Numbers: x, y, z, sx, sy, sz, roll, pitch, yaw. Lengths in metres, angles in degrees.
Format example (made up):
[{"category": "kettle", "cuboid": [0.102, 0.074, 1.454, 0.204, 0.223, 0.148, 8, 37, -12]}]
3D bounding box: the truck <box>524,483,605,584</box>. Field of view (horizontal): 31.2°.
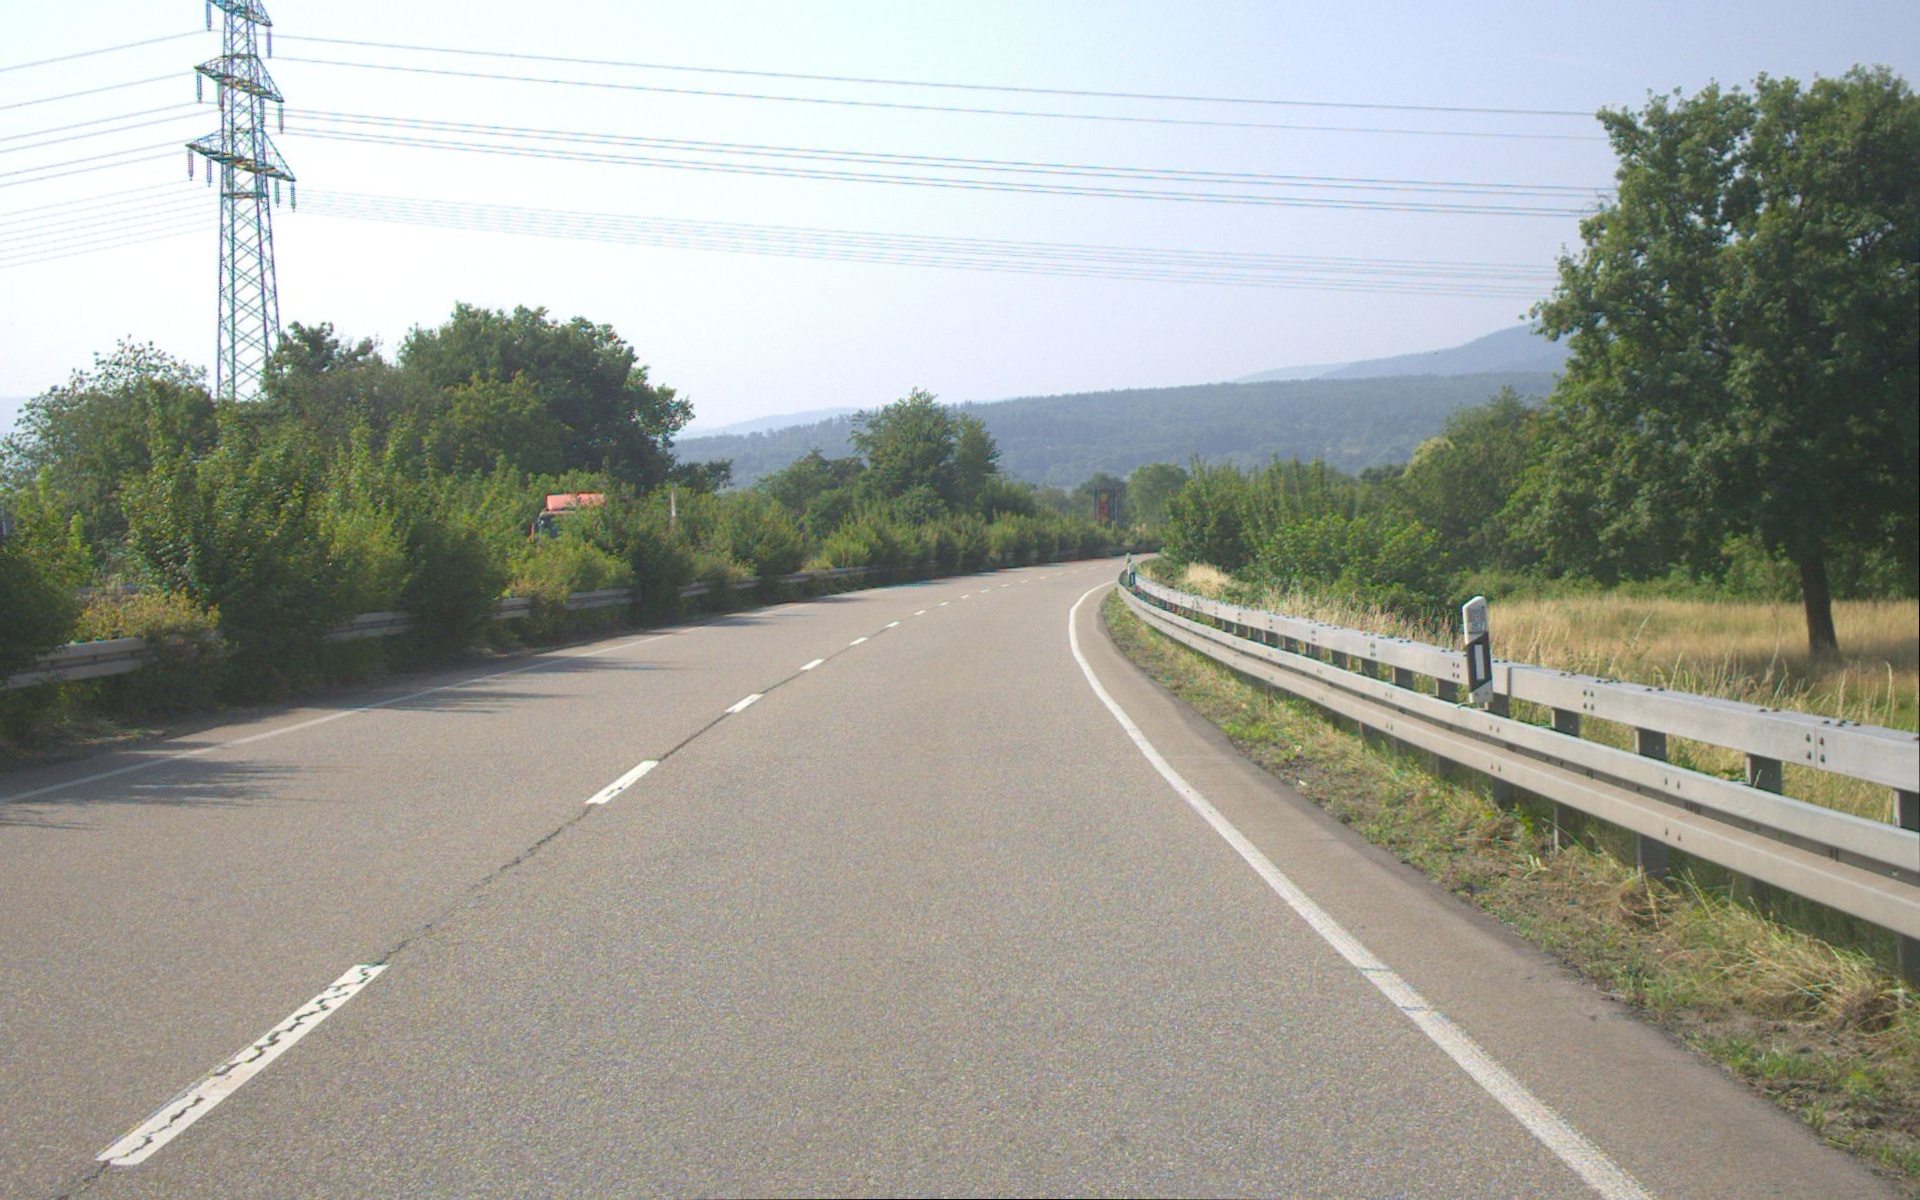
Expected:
[{"category": "truck", "cuboid": [-13.420, -2.256, 116.939, 1.993, 3.364, 5.629, 0, 1, 1]}]
